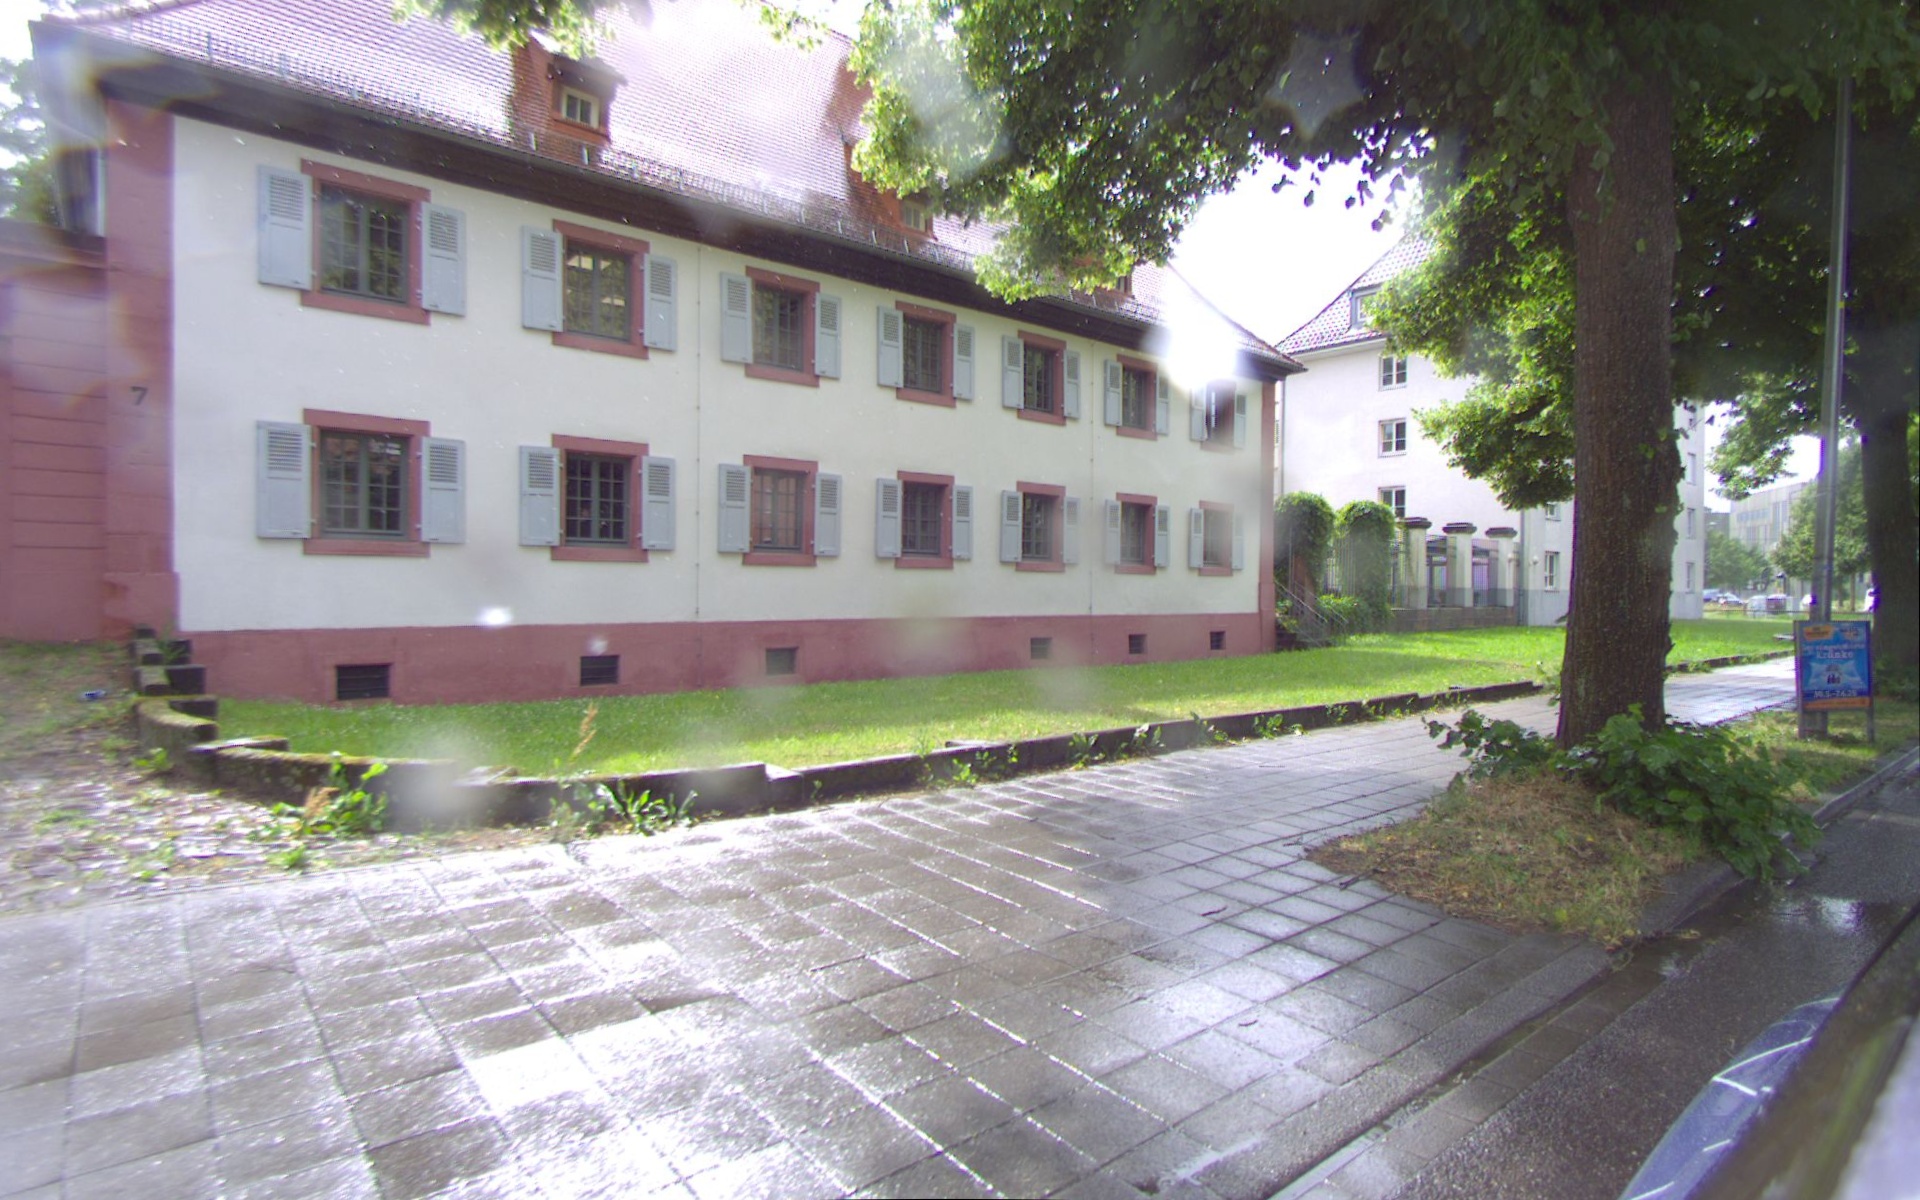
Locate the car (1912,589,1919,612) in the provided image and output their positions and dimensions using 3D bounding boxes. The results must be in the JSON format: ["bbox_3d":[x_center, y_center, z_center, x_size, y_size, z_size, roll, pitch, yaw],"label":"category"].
[{"bbox_3d":[71.562,0.051,74.329,1.881,1.735,4.174,1,1,36],"label":"car"}]
